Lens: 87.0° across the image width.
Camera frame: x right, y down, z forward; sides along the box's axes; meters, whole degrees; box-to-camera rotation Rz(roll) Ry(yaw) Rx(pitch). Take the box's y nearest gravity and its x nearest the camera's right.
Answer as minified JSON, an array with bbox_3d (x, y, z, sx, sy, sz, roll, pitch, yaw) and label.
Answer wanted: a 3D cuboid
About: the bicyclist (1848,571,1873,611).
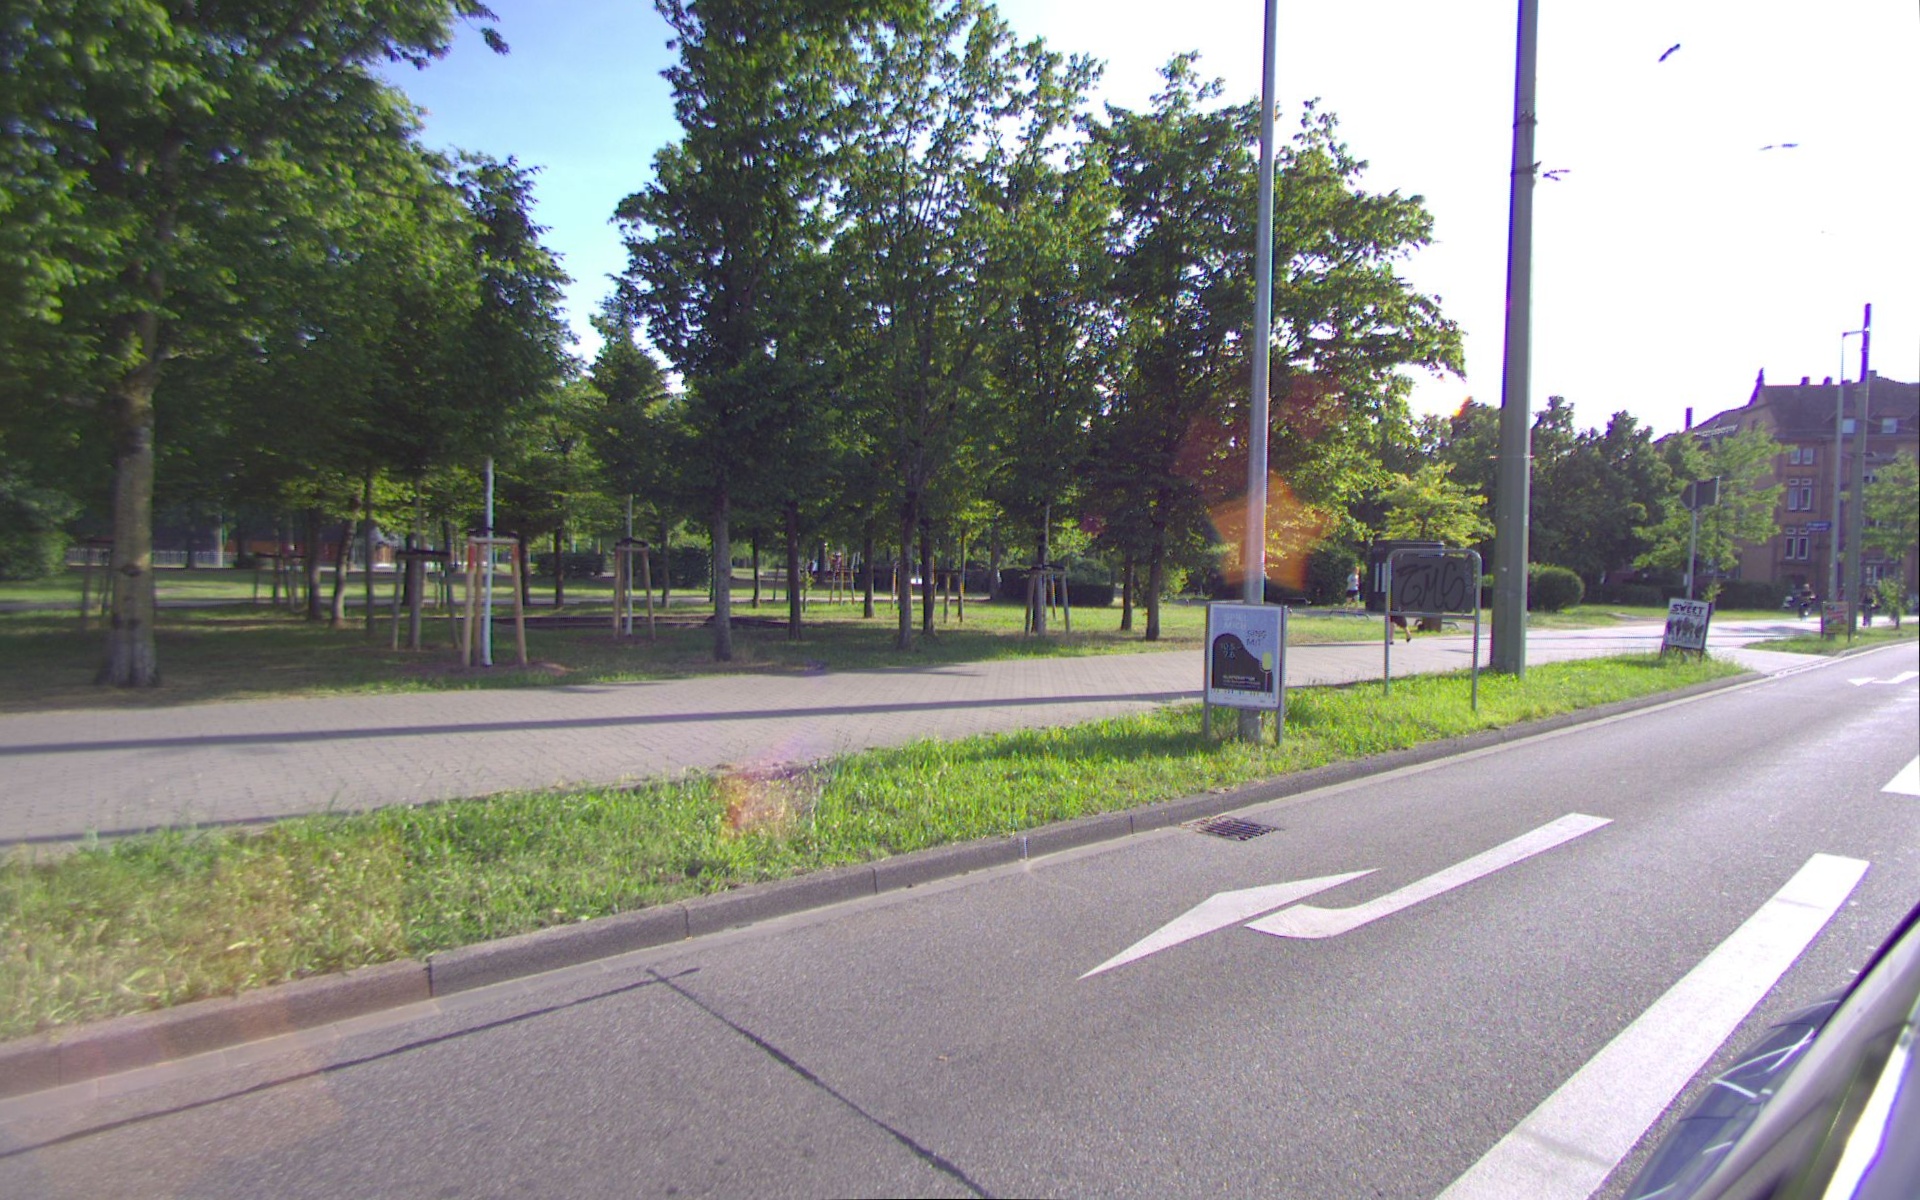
[{"bbox_3d":[41.869,-0.433,47.043,0.998,1.795,0.730,0,2,-42],"label":"bicyclist"}]

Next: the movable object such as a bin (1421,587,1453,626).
[{"bbox_3d":[11.682,0.157,24.798,0.514,0.915,0.504,1,2,-2],"label":"movable object such as a bin"}]

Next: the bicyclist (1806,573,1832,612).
[{"bbox_3d":[40.595,-0.362,47.820,1.099,1.795,0.753,0,2,-42],"label":"bicyclist"}]

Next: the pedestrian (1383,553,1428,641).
[{"bbox_3d":[8.868,-0.072,20.148,0.651,1.722,0.558,0,2,-42],"label":"pedestrian"}]

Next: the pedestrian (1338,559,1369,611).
[{"bbox_3d":[12.752,-0.494,32.834,0.609,1.671,0.664,1,2,-16],"label":"pedestrian"}]

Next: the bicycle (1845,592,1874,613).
[{"bbox_3d":[41.803,0.117,47.015,2.058,0.929,0.740,0,2,-41],"label":"bicycle"}]

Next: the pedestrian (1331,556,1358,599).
[{"bbox_3d":[19.855,-1.157,52.269,0.873,2.184,0.914,1,2,-29],"label":"pedestrian"}]

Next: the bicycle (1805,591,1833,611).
[{"bbox_3d":[40.656,0.032,47.873,2.059,0.929,0.739,0,2,-42],"label":"bicycle"}]
